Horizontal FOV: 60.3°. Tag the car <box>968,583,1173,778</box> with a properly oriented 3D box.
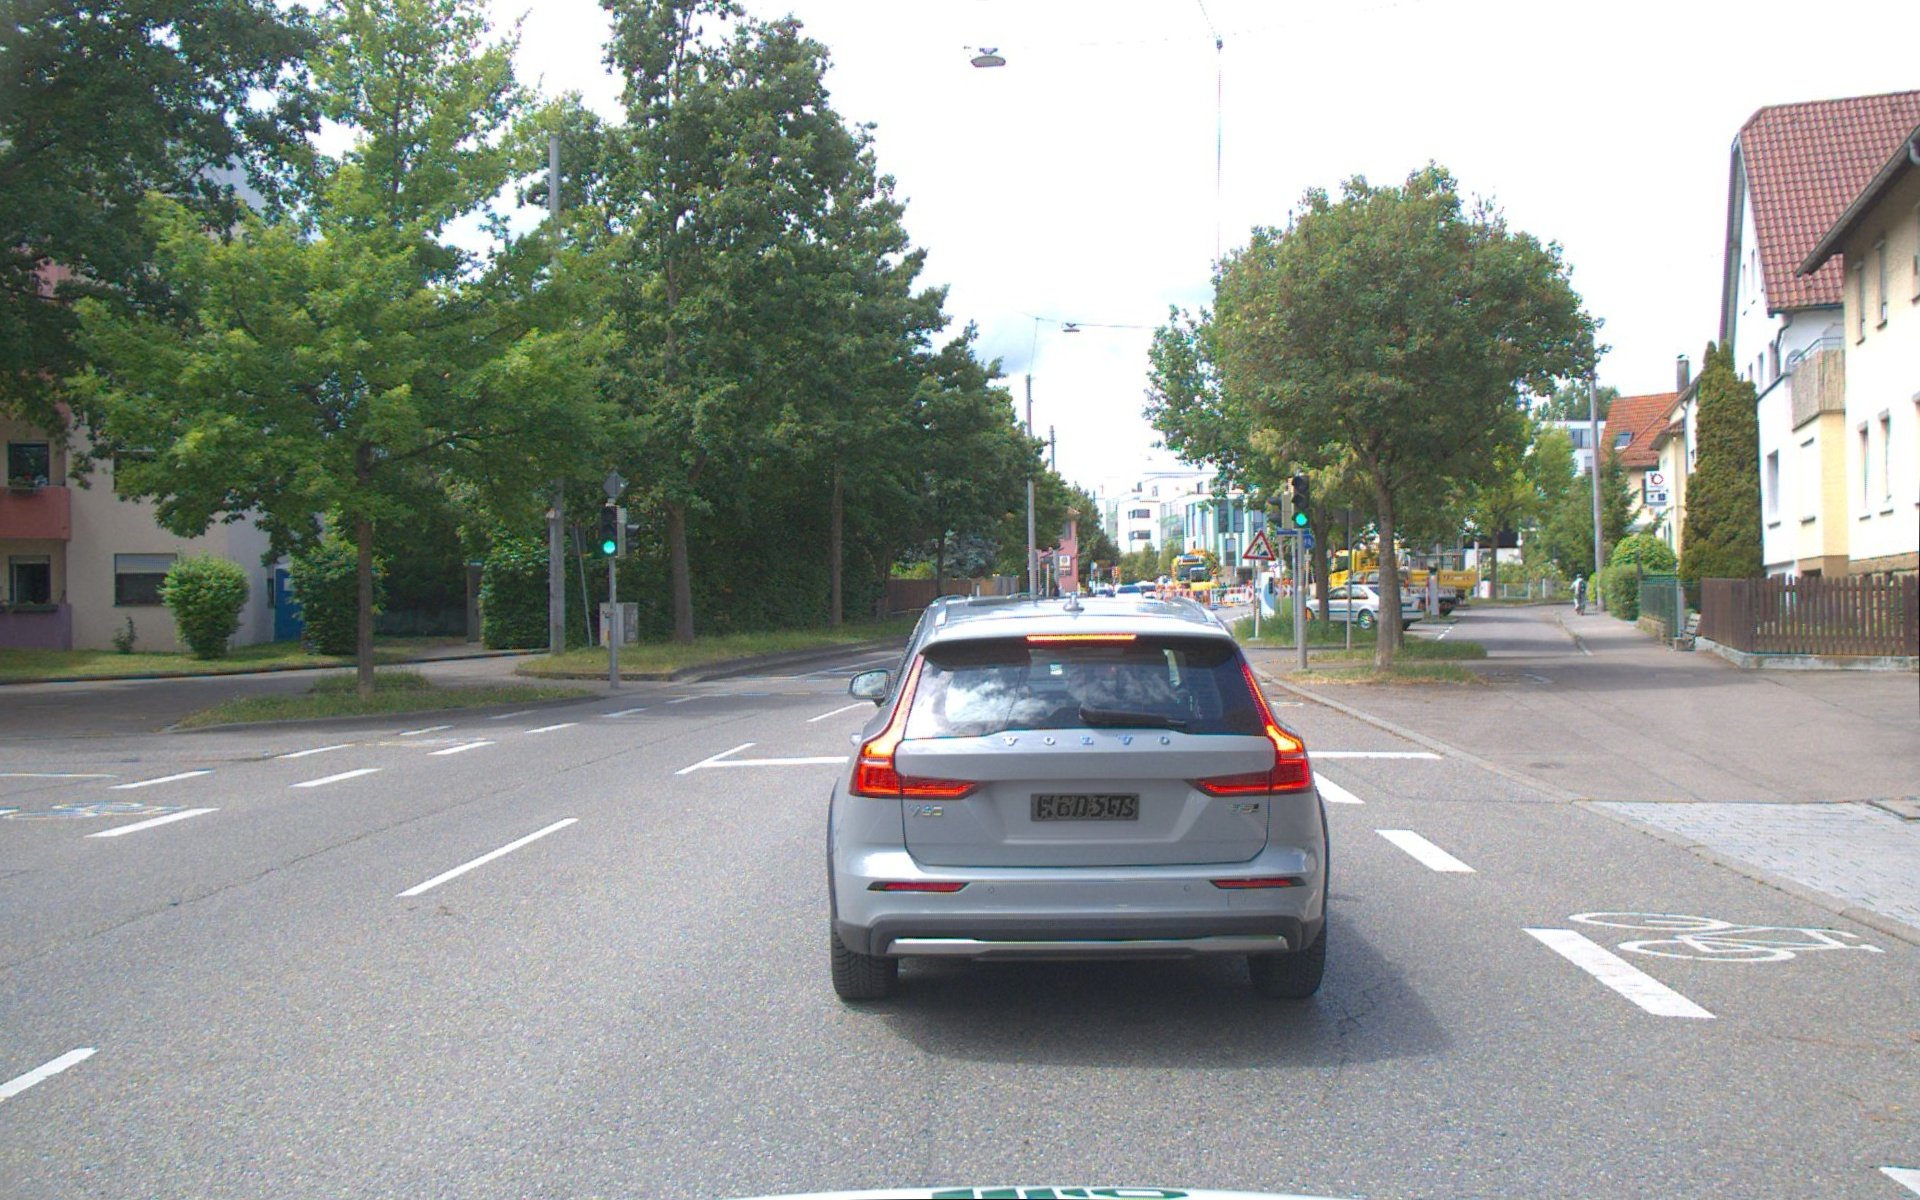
[{"bbox_3d":[0.968,0.669,15.323,1.627,1.534,3.703,2,0,2],"label":"car"}]

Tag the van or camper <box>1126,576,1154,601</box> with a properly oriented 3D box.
[{"bbox_3d":[13.598,-0.888,124.987,1.821,1.807,4.384,-1,0,9],"label":"van or camper"}]

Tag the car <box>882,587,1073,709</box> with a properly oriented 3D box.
[{"bbox_3d":[0.354,0.641,23.498,2.057,1.536,4.003,1,-1,10],"label":"car"}]

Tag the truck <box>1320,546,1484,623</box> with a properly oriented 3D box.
[{"bbox_3d":[18.812,-0.644,70.813,2.737,3.061,6.626,2,-1,-34],"label":"truck"}]

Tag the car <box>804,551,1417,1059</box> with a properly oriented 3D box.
[{"bbox_3d":[0.523,0.644,7.157,1.888,1.567,4.001,-1,0,2],"label":"car"}]

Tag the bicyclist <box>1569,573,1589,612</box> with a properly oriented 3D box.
[{"bbox_3d":[25.348,-0.304,67.726,0.577,1.586,0.566,1,-1,-2],"label":"bicyclist"}]

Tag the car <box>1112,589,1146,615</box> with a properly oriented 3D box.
[{"bbox_3d":[10.014,0.141,97.925,1.789,1.353,4.003,1,-2,9],"label":"car"}]

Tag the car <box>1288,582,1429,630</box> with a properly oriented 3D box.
[{"bbox_3d":[13.041,0.175,54.420,1.745,1.477,4.638,-1,1,-32],"label":"car"}]

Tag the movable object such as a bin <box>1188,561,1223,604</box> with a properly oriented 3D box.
[{"bbox_3d":[16.289,-1.147,109.387,1.991,2.689,5.945,-2,0,11],"label":"movable object such as a bin"}]

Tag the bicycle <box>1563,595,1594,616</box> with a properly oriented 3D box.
[{"bbox_3d":[25.339,0.231,67.809,0.582,0.826,1.753,1,0,-1],"label":"bicycle"}]

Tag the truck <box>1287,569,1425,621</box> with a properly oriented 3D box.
[{"bbox_3d":[16.495,-0.204,69.137,1.979,2.049,5.601,2,-1,-38],"label":"truck"}]

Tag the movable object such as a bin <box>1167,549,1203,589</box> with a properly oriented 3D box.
[{"bbox_3d":[18.014,-2.473,132.687,2.262,3.042,6.429,-2,0,3],"label":"movable object such as a bin"}]

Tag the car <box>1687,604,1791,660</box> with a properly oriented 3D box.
[{"bbox_3d":[17.334,0.702,36.924,1.431,1.144,3.874,1,-1,15],"label":"car"}]
